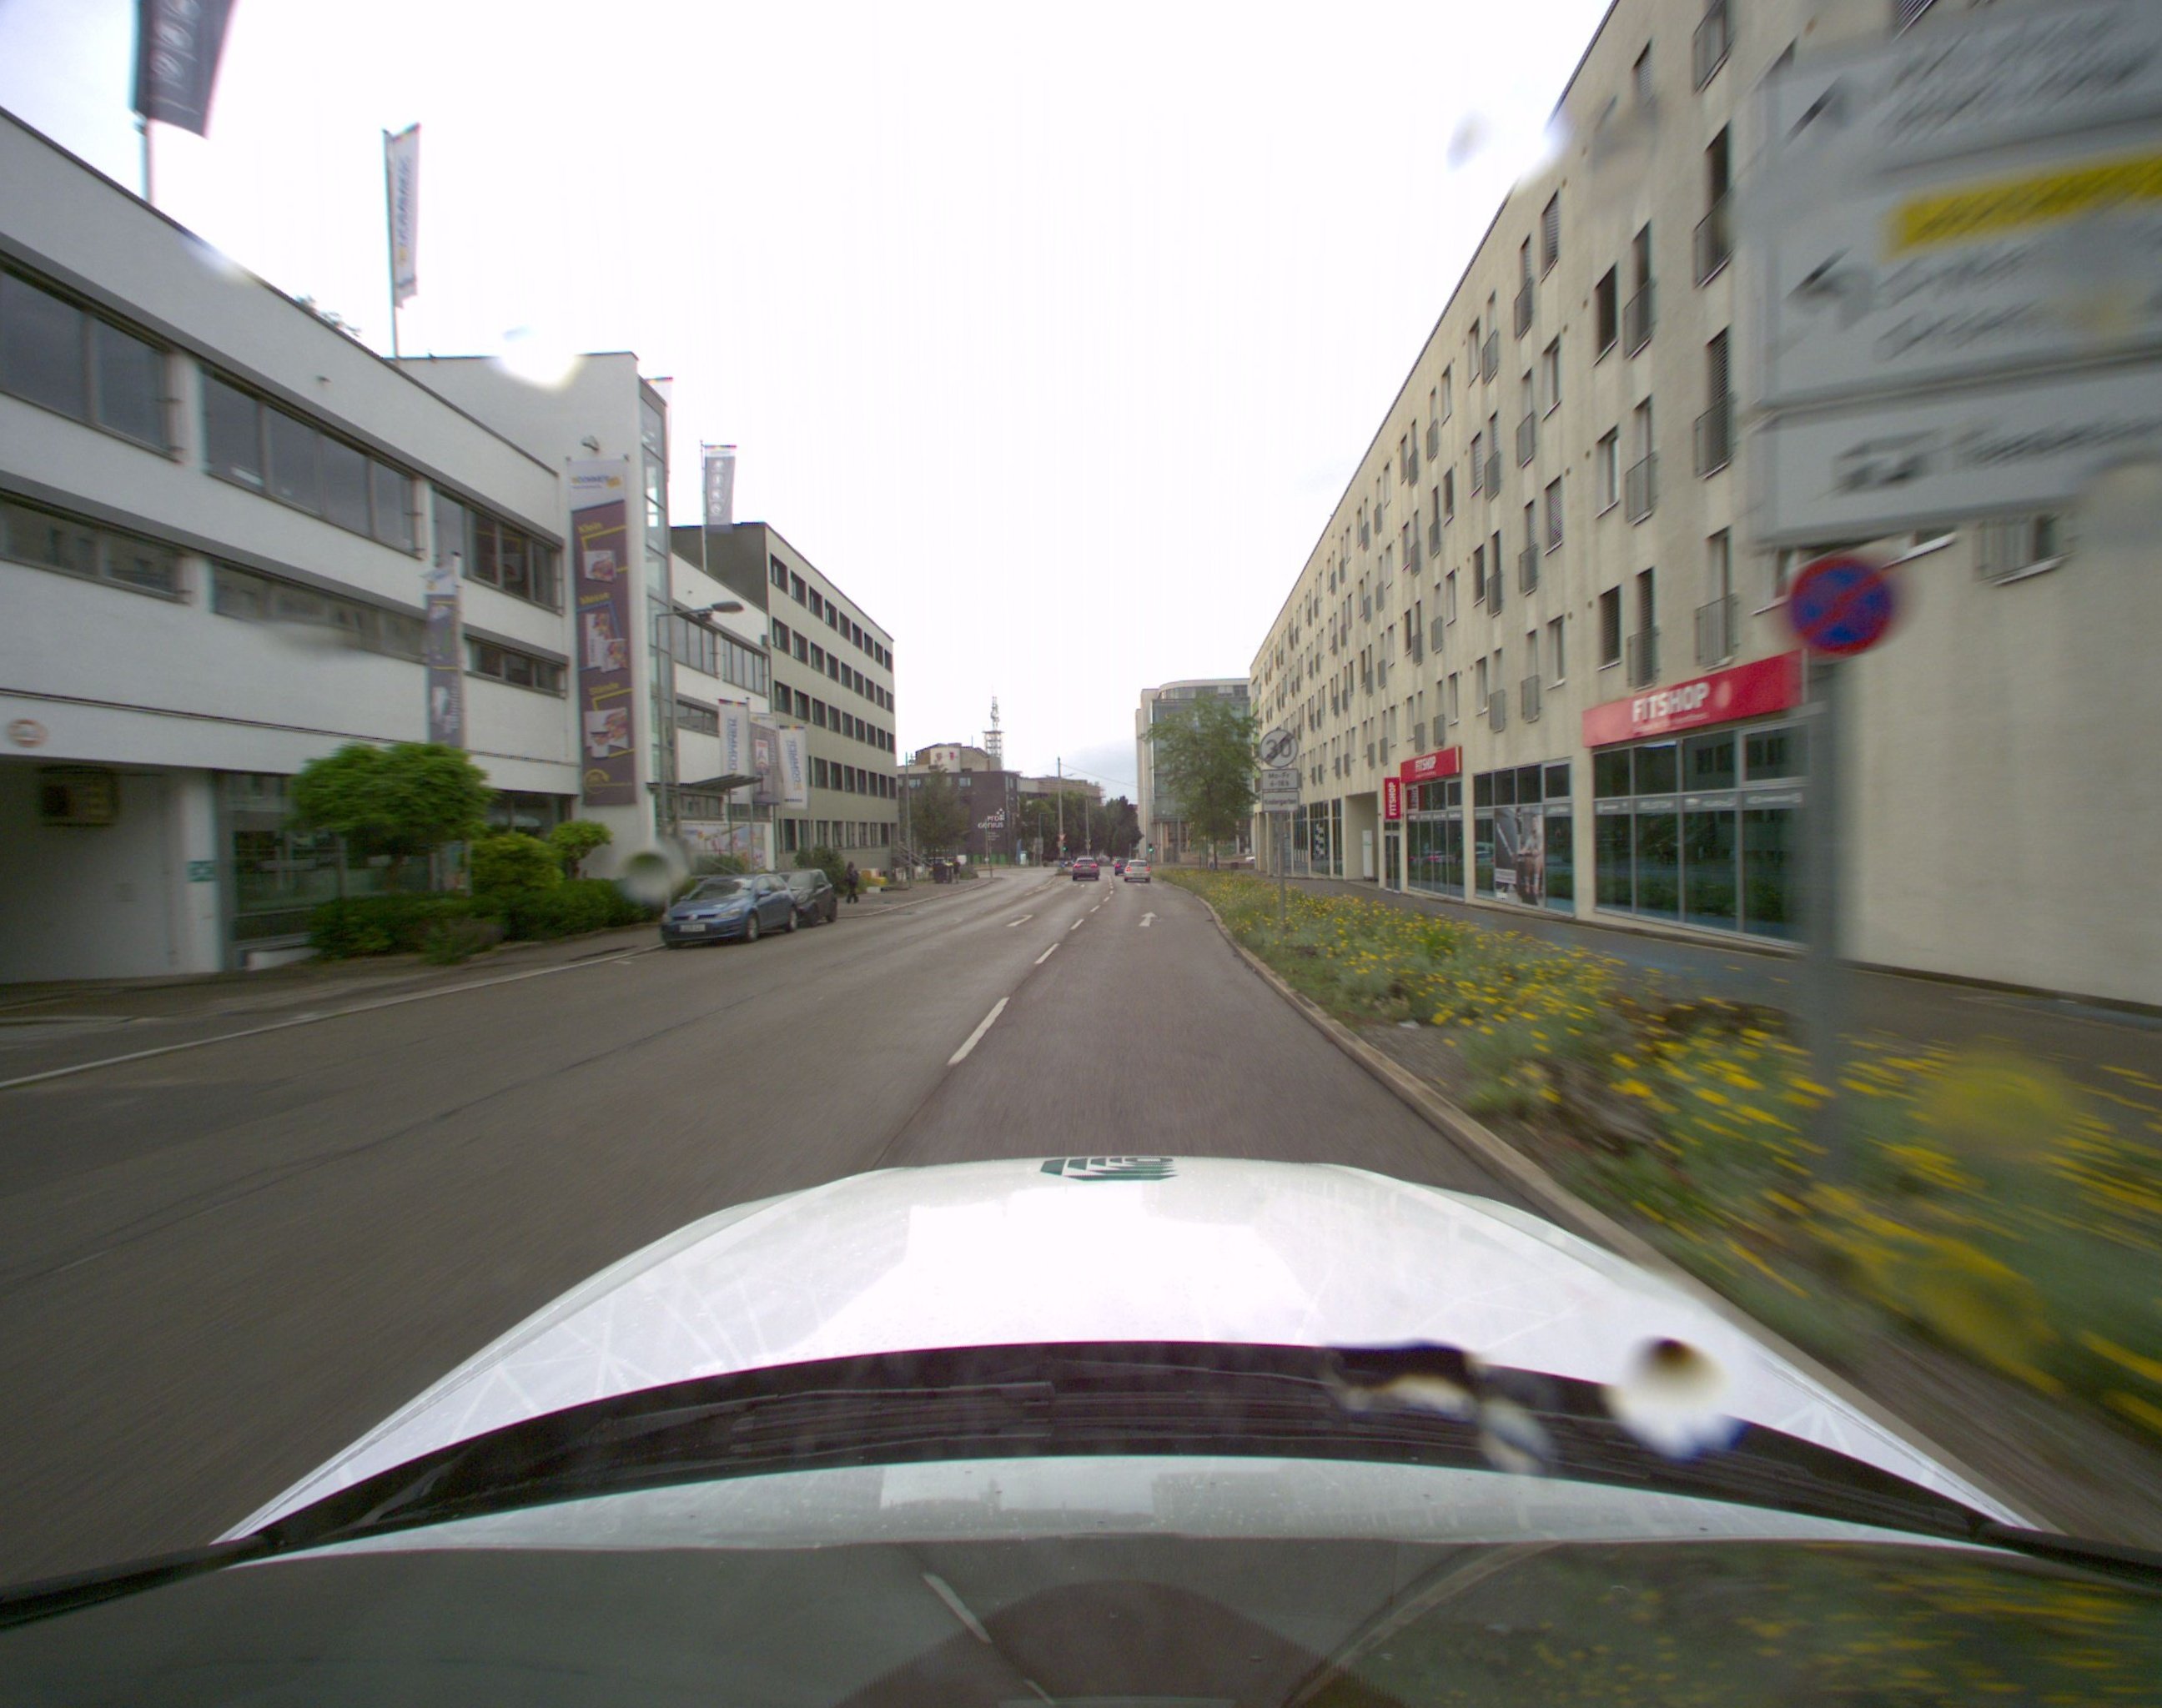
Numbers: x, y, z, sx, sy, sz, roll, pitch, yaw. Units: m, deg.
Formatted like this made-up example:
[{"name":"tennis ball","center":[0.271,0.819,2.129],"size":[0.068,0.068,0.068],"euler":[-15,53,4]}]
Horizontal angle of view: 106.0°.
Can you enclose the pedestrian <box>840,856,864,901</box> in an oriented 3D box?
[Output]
[{"name":"pedestrian","center":[-8.980,0.961,31.886],"size":[0.732,1.708,0.896],"euler":[-1,-2,-26]}]

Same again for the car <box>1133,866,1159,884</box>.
[{"name":"car","center":[5.800,1.889,73.067],"size":[1.987,1.508,3.999],"euler":[-1,-1,0]}]

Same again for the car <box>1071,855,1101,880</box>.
[{"name":"car","center":[0.405,0.992,59.415],"size":[2.134,1.728,4.000],"euler":[-1,-1,1]}]

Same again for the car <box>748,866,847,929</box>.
[{"name":"car","center":[-7.702,1.122,22.379],"size":[1.559,1.514,3.170],"euler":[-3,0,0]}]

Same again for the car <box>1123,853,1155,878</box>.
[{"name":"car","center":[3.894,0.754,54.327],"size":[1.984,1.577,4.001],"euler":[-1,0,4]}]

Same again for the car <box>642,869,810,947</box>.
[{"name":"car","center":[-7.676,1.092,18.119],"size":[1.909,1.481,4.353],"euler":[-1,-1,-2]}]

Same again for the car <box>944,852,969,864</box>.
[{"name":"car","center":[-22.797,0.718,149.153],"size":[3.959,2.014,2.007],"euler":[-1,-1,13]}]

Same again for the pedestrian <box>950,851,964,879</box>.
[{"name":"pedestrian","center":[-8.680,0.784,56.917],"size":[0.960,1.955,0.776],"euler":[-1,-1,-11]}]

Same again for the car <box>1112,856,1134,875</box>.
[{"name":"car","center":[4.038,1.122,78.594],"size":[1.986,1.750,3.673],"euler":[-1,0,1]}]

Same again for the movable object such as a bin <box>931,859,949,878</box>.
[{"name":"movable object such as a bin","center":[-9.795,1.012,56.709],"size":[1.205,1.321,0.871],"euler":[-1,0,-11]}]
